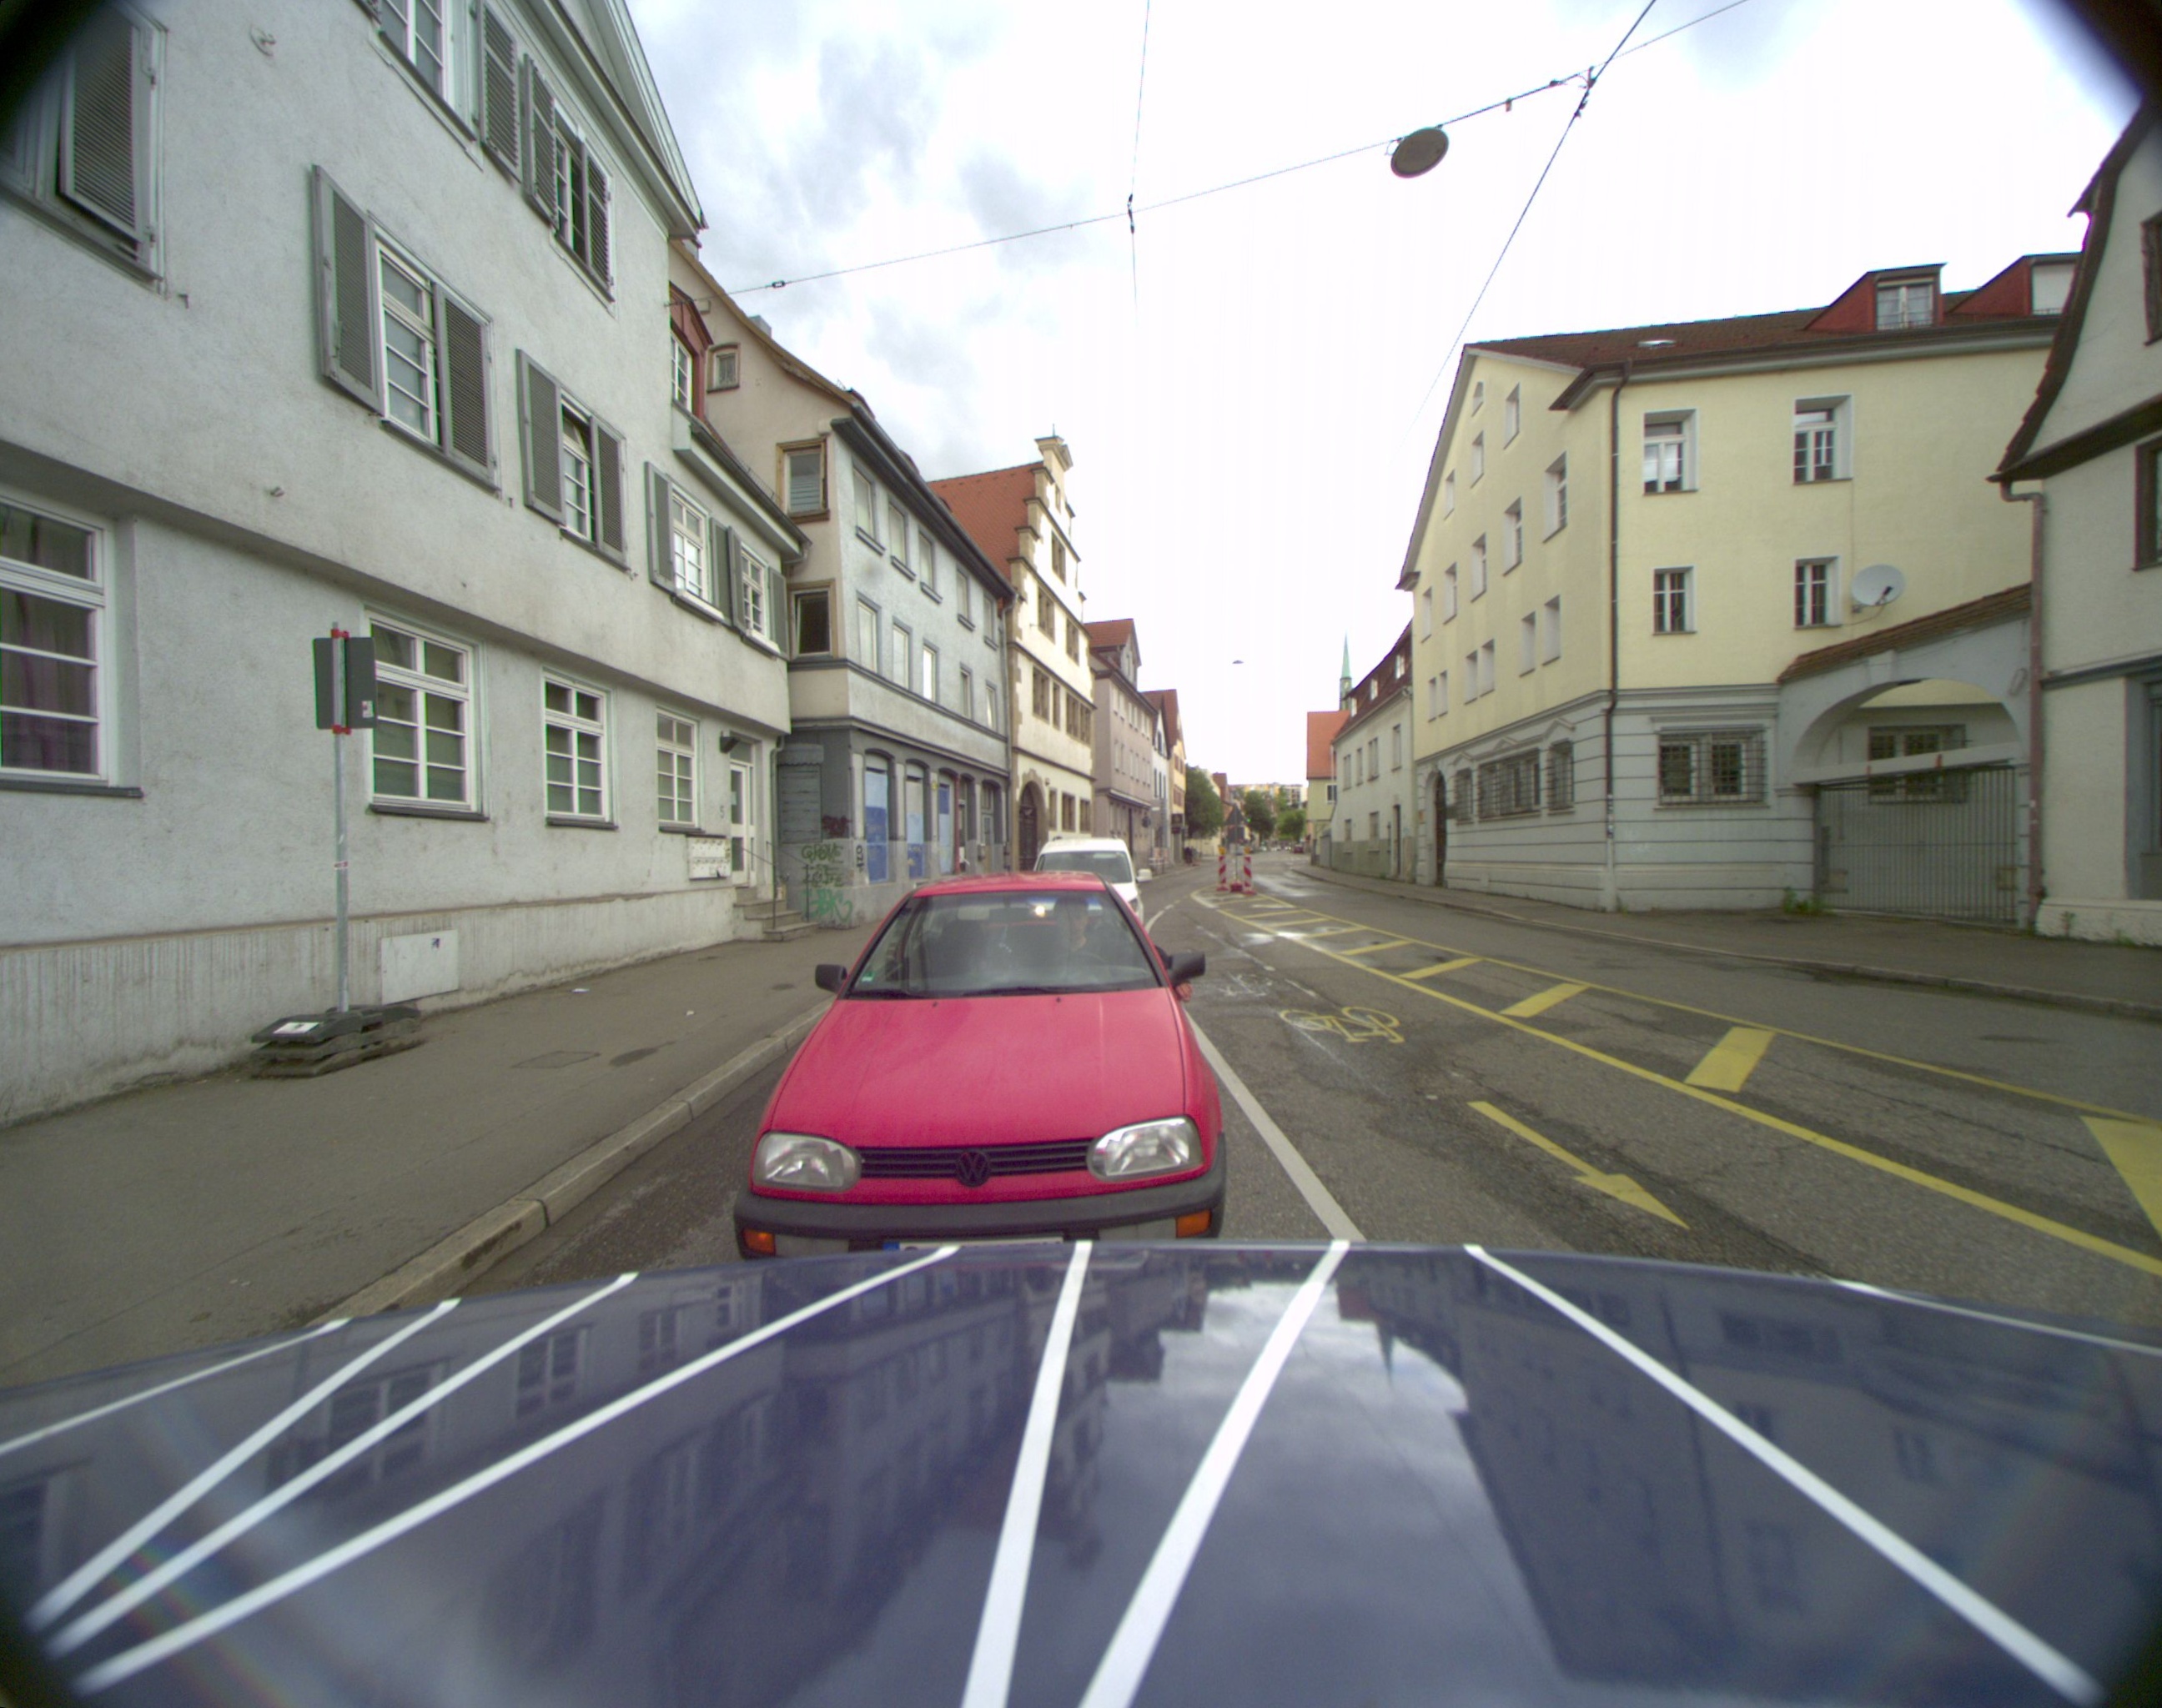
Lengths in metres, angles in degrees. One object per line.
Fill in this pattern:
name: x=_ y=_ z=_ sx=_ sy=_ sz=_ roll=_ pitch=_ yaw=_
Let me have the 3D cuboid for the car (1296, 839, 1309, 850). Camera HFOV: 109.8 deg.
car: x=42.715 y=-1.784 z=146.582 sx=2.057 sy=2.002 sz=4.004 roll=-1 pitch=0 yaw=13

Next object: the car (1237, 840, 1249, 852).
car: x=28.443 y=-1.352 z=133.501 sx=1.996 sy=2.002 sz=4.004 roll=-1 pitch=0 yaw=13

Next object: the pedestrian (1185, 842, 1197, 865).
pedestrian: x=8.983 y=-0.030 z=62.047 sx=0.877 sy=1.888 sz=0.898 roll=-1 pitch=0 yaw=14

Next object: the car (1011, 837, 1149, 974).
car: x=0.014 y=0.691 z=12.250 sx=1.804 sy=1.781 sz=4.349 roll=-1 pitch=0 yaw=1

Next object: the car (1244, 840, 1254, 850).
car: x=34.084 y=-1.766 z=154.252 sx=1.996 sy=2.002 sz=4.004 roll=-1 pitch=0 yaw=13

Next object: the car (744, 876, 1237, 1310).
car: x=-0.320 y=0.983 z=4.918 sx=1.804 sy=1.458 sz=4.000 roll=-4 pitch=0 yaw=1

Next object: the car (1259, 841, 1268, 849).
car: x=44.941 y=-2.166 z=186.813 sx=1.996 sy=2.002 sz=4.004 roll=-1 pitch=0 yaw=13

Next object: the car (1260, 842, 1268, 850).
car: x=48.461 y=-2.117 z=201.287 sx=1.996 sy=2.002 sz=4.004 roll=-1 pitch=0 yaw=13
